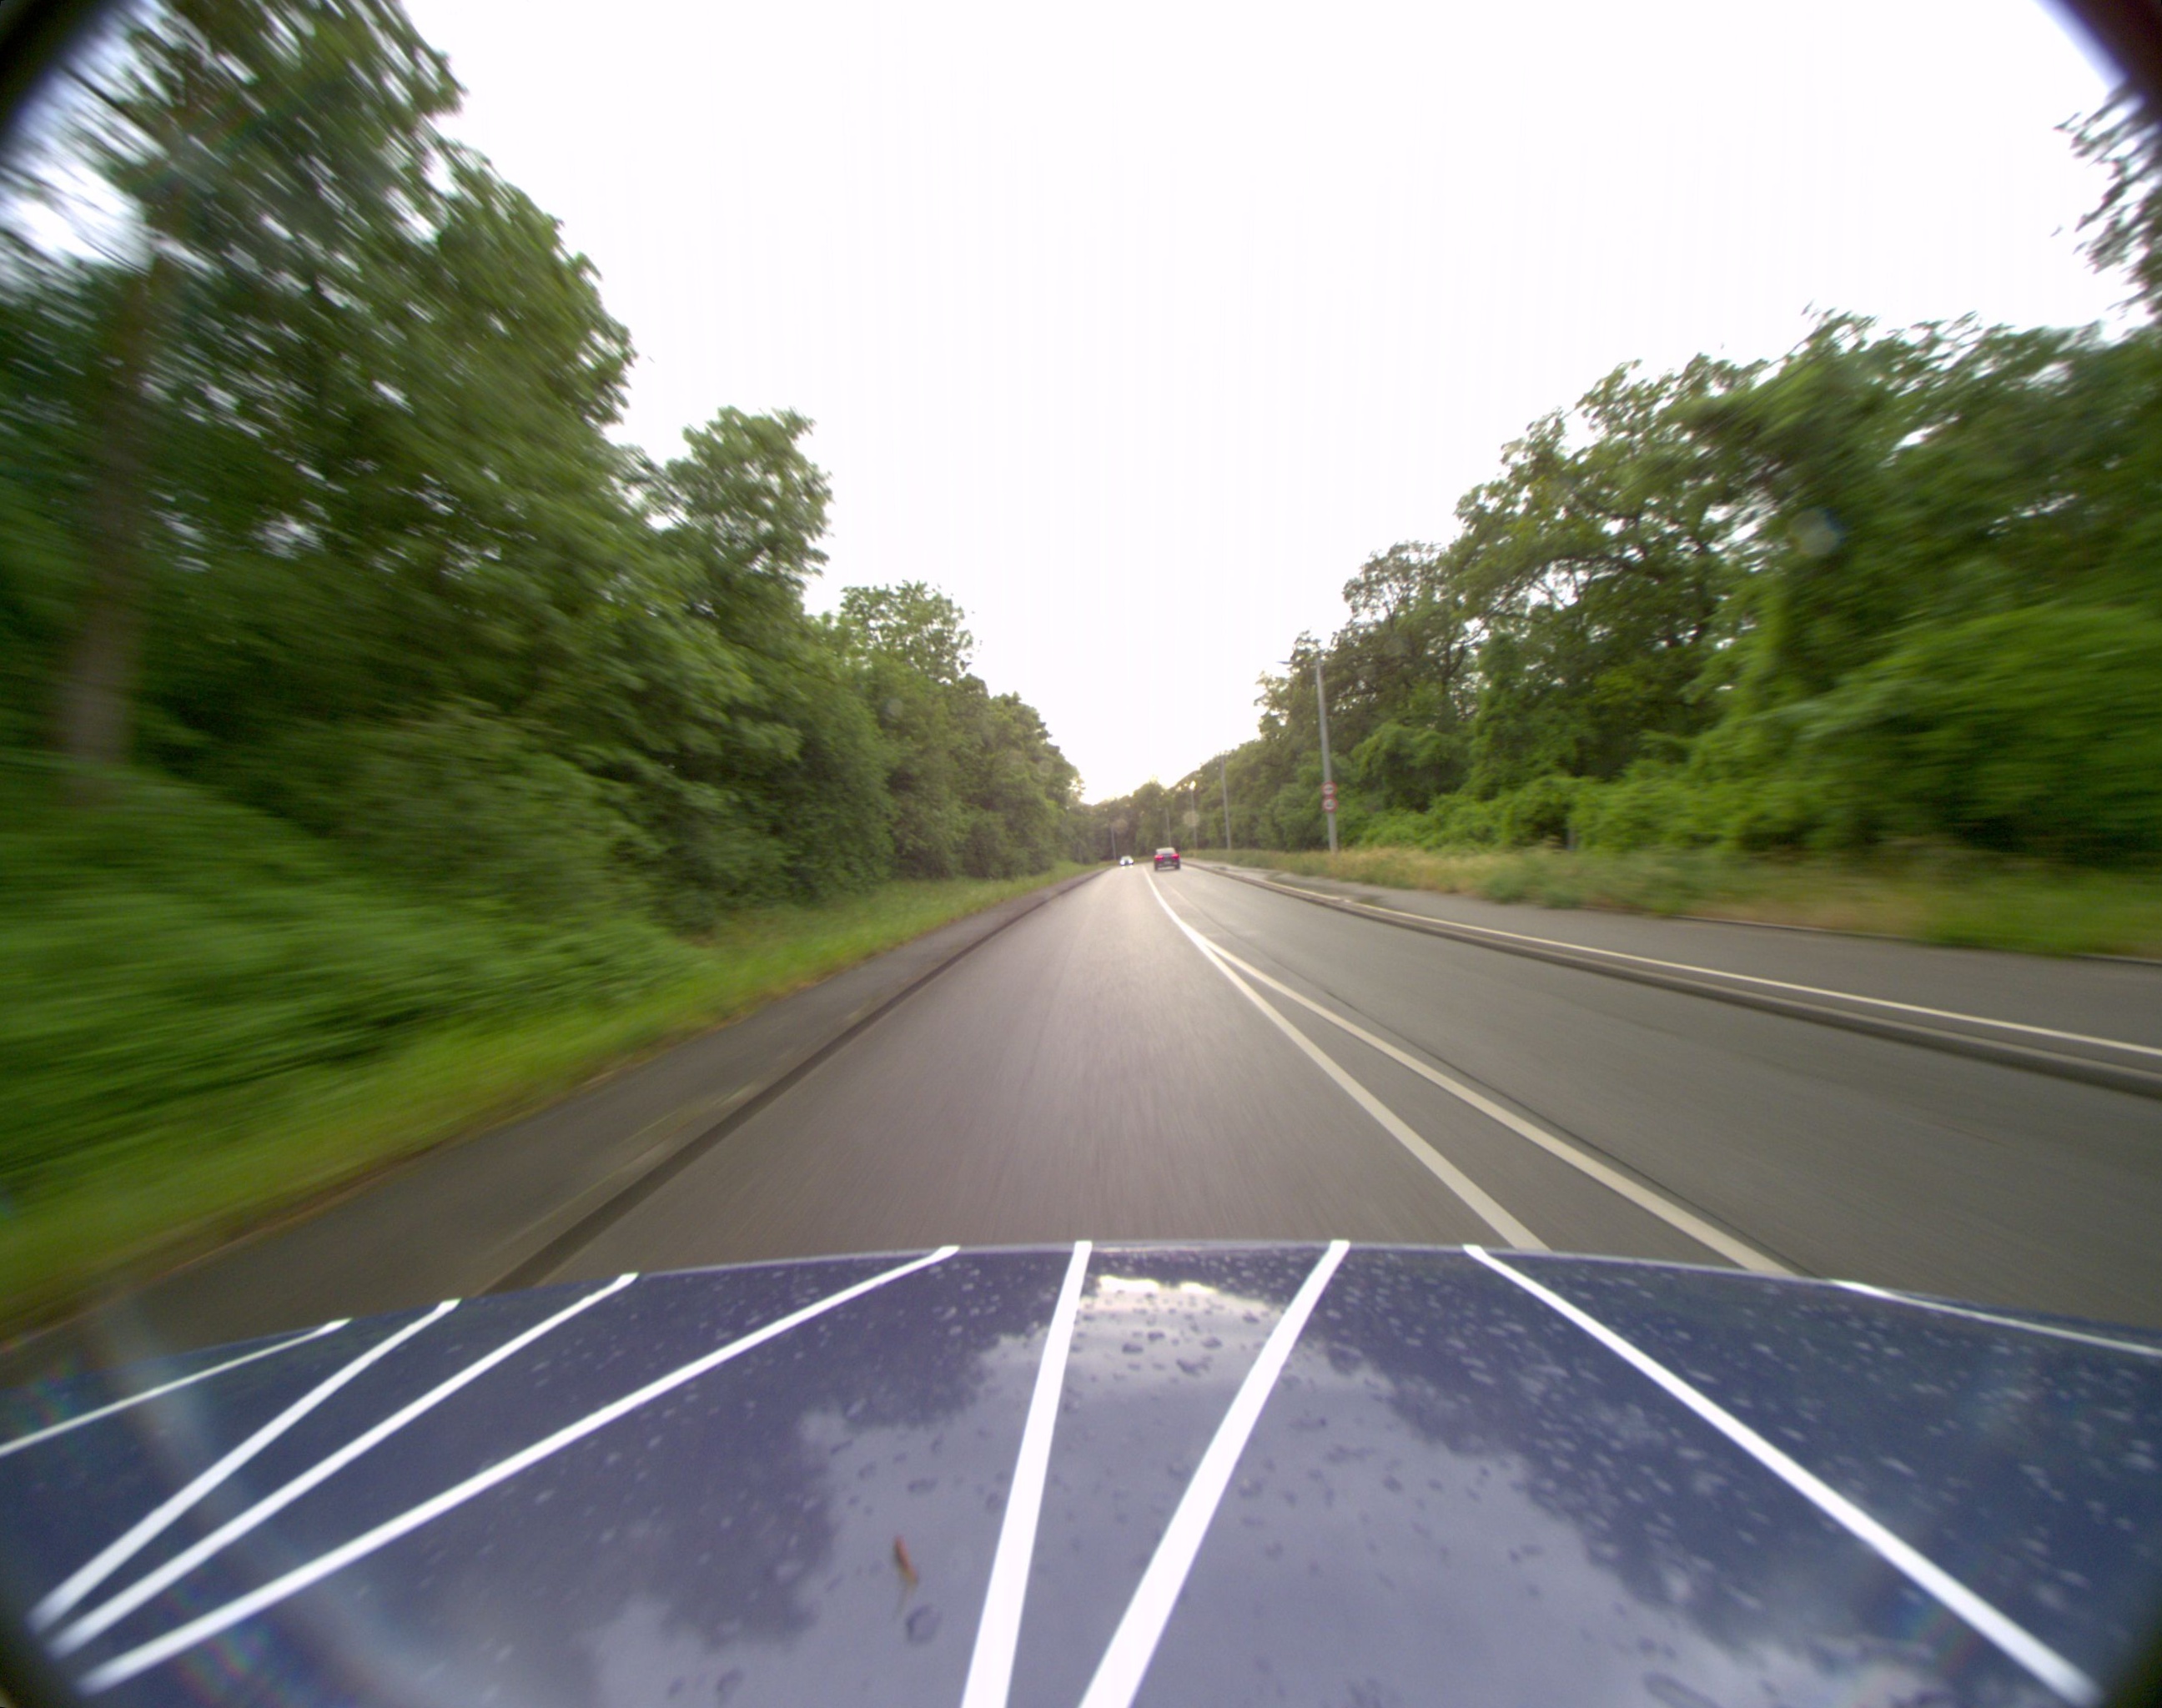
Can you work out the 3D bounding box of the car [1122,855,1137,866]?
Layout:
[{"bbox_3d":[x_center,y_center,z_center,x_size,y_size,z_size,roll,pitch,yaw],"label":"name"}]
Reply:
[{"bbox_3d":[6.859,0.904,107.732,1.781,1.477,4.000,-3,0,1],"label":"car"}]

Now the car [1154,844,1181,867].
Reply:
[{"bbox_3d":[7.117,0.096,61.838,1.997,1.776,4.710,-3,0,8],"label":"car"}]
